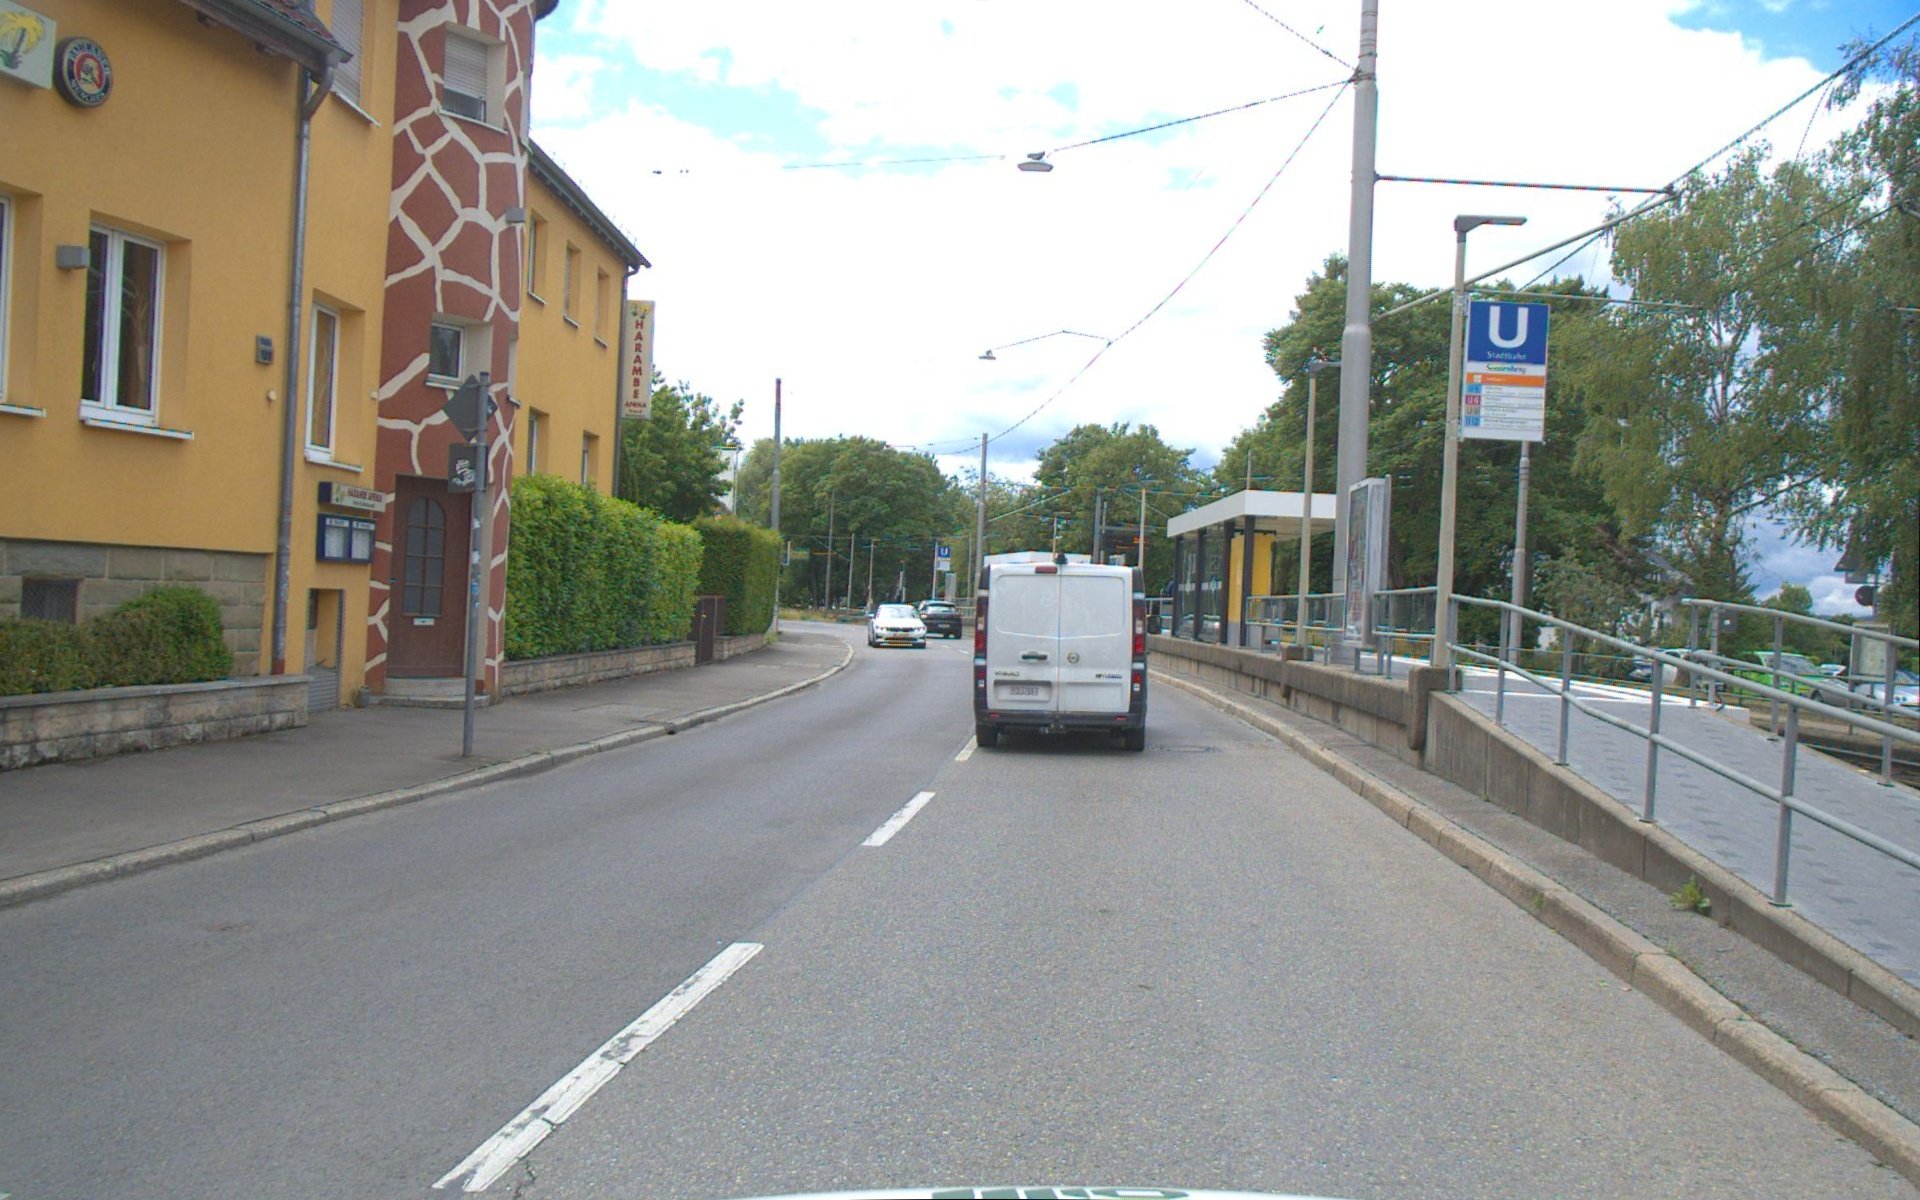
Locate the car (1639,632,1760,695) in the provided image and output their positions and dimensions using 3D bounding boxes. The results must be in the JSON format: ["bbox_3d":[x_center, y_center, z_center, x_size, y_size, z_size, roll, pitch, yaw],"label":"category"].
[{"bbox_3d":[21.252,1.798,47.697,1.720,1.601,4.101,3,0,2],"label":"car"}]

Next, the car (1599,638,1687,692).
[{"bbox_3d":[21.780,2.043,52.900,1.801,1.514,4.505,3,0,13],"label":"car"}]

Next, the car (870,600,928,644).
[{"bbox_3d":[-2.152,0.736,57.269,1.783,1.444,4.458,0,0,-5],"label":"car"}]

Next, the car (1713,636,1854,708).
[{"bbox_3d":[21.169,1.815,42.675,1.694,1.601,4.001,3,0,2],"label":"car"}]

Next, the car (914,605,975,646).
[{"bbox_3d":[-0.734,1.118,73.264,2.310,1.591,4.368,4,-1,-4],"label":"car"}]

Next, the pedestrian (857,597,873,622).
[{"bbox_3d":[-5.851,0.607,101.965,0.752,1.518,0.623,3,-1,-36],"label":"pedestrian"}]

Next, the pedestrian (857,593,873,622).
[{"bbox_3d":[-5.954,0.473,103.683,0.752,1.826,0.623,3,-1,-36],"label":"pedestrian"}]

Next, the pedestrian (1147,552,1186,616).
[{"bbox_3d":[5.675,-0.431,45.435,0.868,1.700,0.909,3,0,-1],"label":"pedestrian"}]

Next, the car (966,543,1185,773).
[{"bbox_3d":[1.366,0.600,19.335,2.073,2.171,5.443,4,0,4],"label":"car"}]

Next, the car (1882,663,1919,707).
[{"bbox_3d":[34.693,3.074,59.362,1.719,1.514,3.903,2,-1,13],"label":"car"}]

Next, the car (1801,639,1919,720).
[{"bbox_3d":[21.017,1.776,37.298,2.020,1.601,4.261,3,0,2],"label":"car"}]
